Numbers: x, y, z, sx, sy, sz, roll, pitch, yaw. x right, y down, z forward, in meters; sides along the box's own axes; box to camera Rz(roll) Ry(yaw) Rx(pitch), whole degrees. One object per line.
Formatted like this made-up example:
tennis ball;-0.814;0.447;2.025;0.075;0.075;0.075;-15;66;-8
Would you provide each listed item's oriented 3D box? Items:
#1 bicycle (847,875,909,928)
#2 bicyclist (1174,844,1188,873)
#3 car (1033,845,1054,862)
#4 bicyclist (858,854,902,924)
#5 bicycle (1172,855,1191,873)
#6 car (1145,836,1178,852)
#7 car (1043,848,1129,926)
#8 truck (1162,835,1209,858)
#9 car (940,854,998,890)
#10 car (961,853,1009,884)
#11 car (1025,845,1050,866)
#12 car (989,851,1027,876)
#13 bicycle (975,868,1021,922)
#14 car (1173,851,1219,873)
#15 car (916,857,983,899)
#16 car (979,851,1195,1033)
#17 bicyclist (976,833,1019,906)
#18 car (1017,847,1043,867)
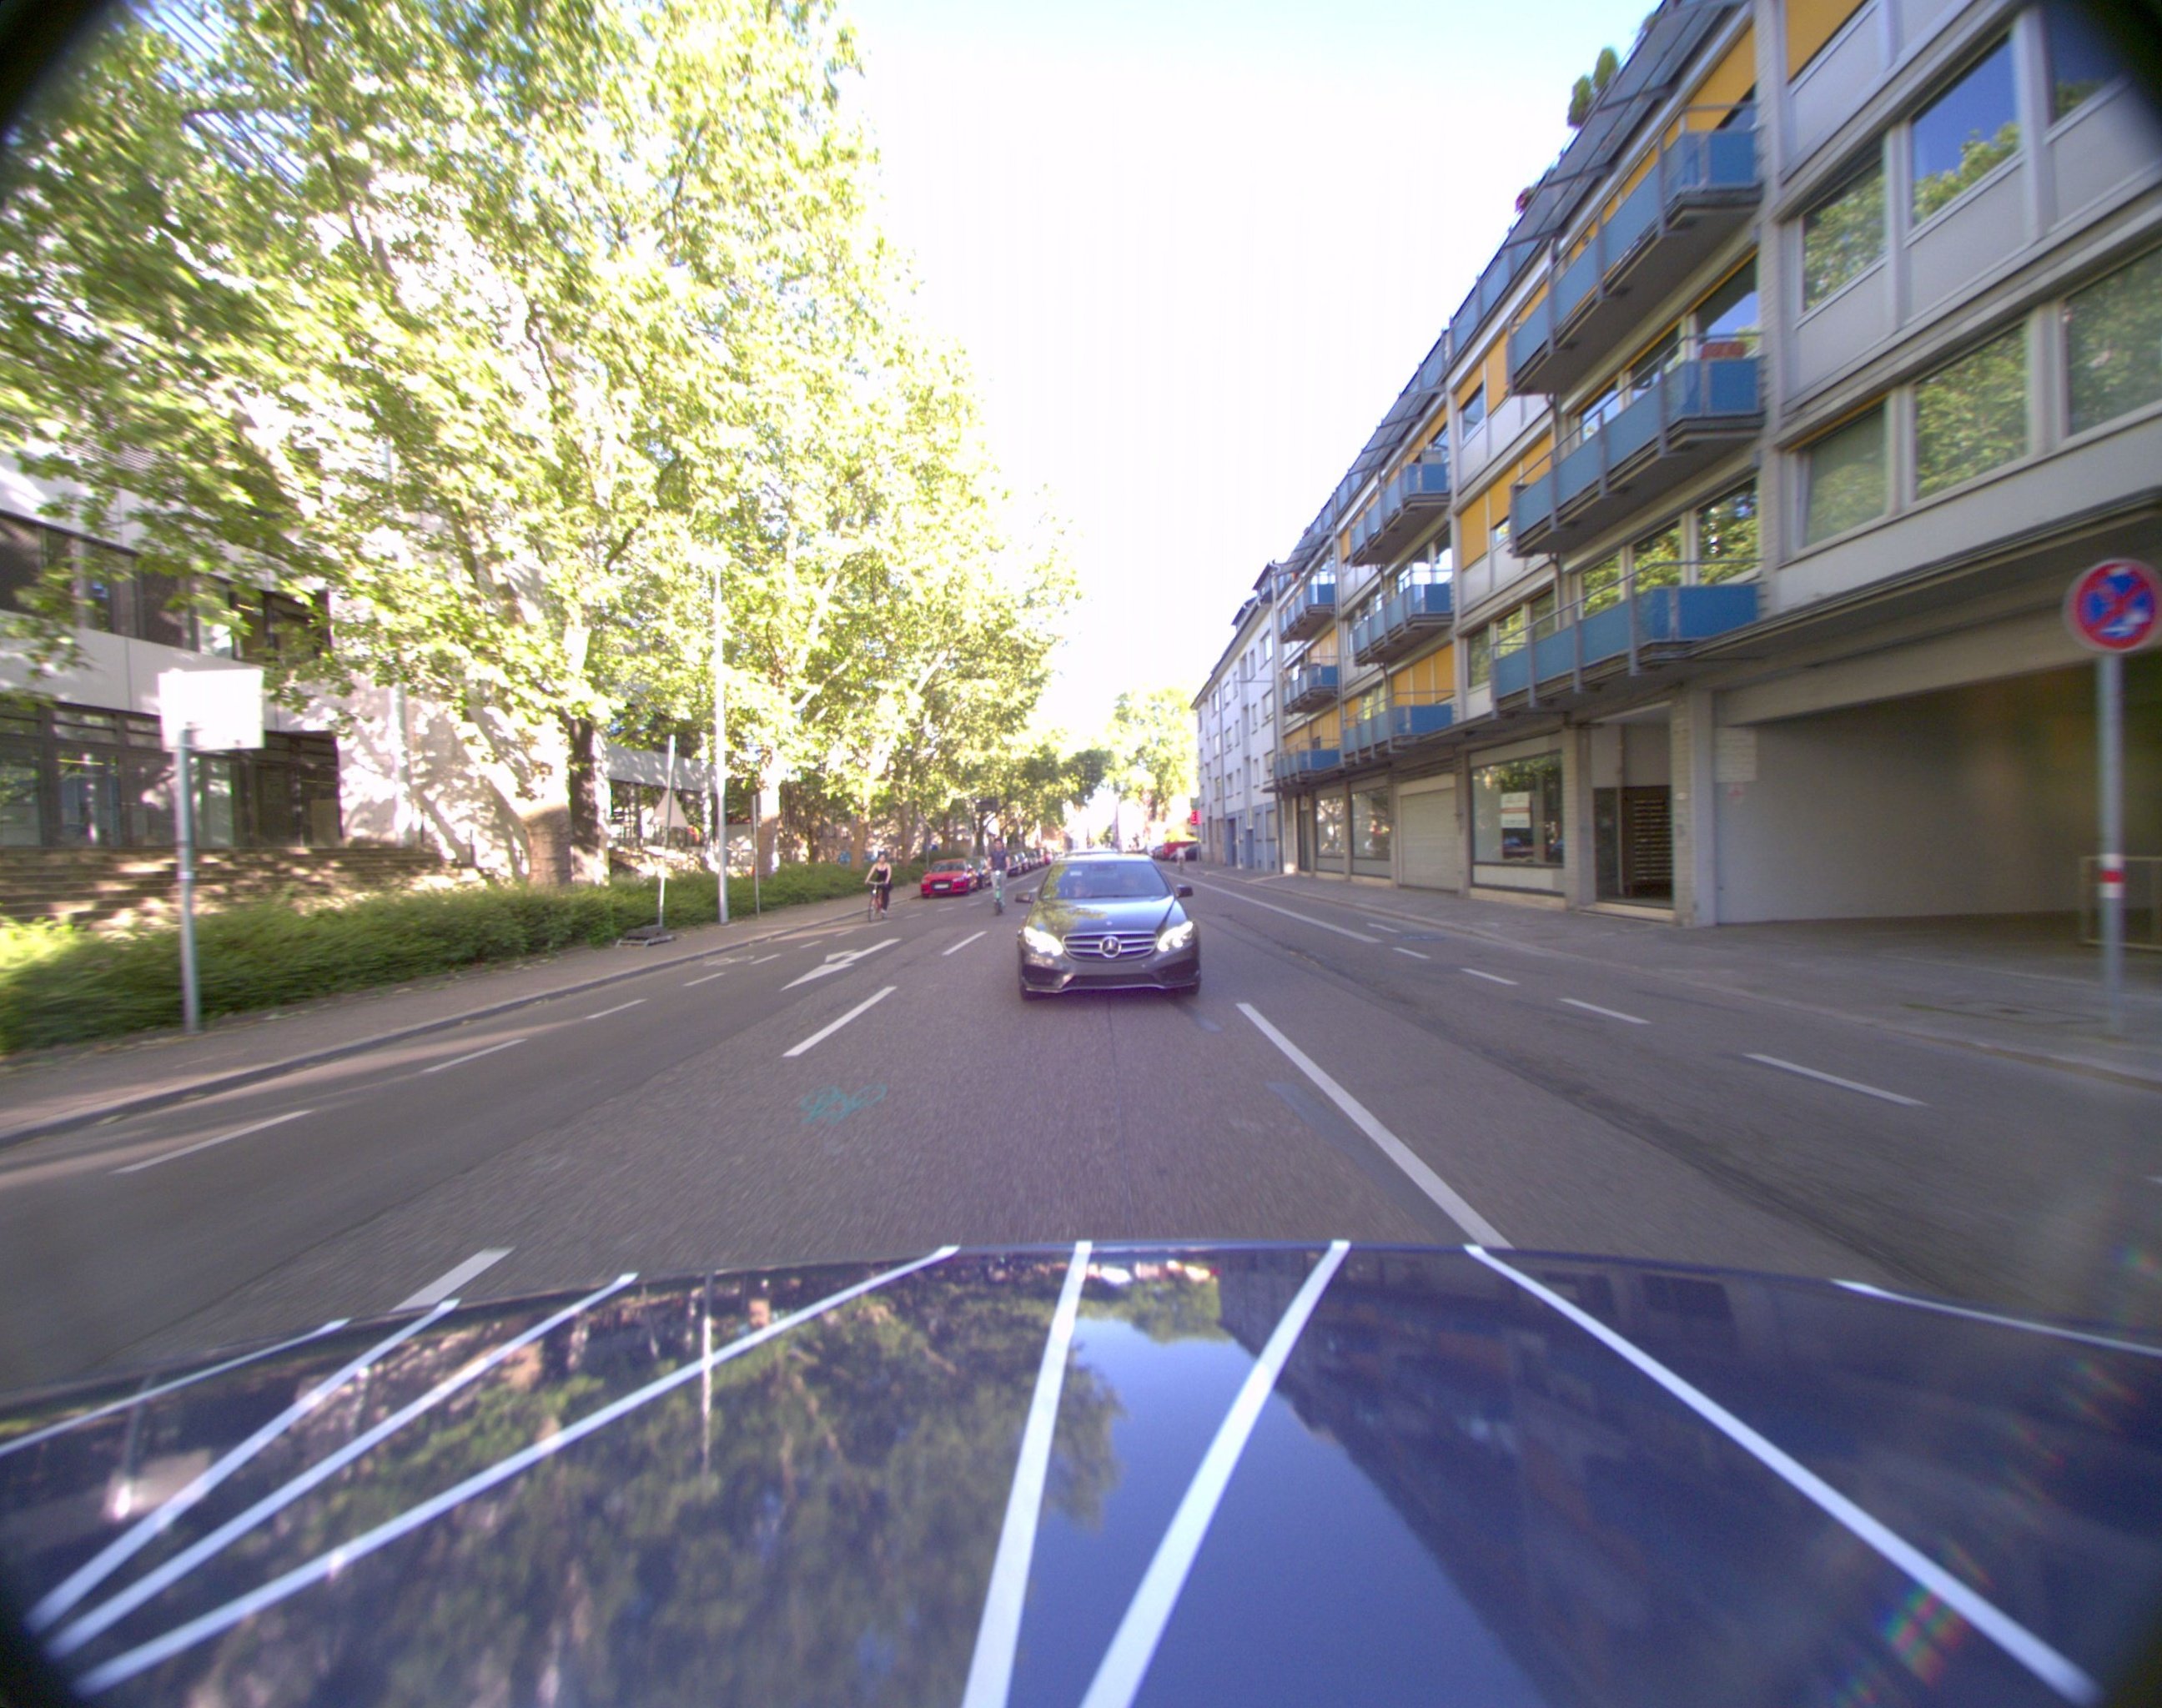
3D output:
bicycle;-5.099;1.160;19.261;0.770;1.129;2.815;-3;0;0
bicyclist;5.810;0.242;44.177;0.692;1.621;0.758;-1;2;0
car;-4.021;-0.085;82.915;1.898;1.808;4.077;-2;1;2
bicyclist;-5.134;0.874;19.420;0.770;1.670;0.895;-4;2;0
bicycle;5.818;0.568;44.143;0.692;0.980;2.631;-1;1;0
car;10.768;-1.347;101.818;3.997;2.002;1.999;-2;2;-1
car;0.229;0.702;18.443;1.746;1.594;4.000;-2;1;5
truck;10.513;-0.739;76.606;4.404;2.146;1.877;-2;2;-1
car;-5.063;0.771;34.812;1.898;1.439;4.077;-2;1;2
car;-5.030;0.723;40.314;1.898;1.443;4.077;-2;1;2
car;-4.095;0.129;71.928;1.898;1.841;4.077;-2;1;2
car;-4.747;0.600;49.699;1.898;1.443;4.077;-2;1;2
bicycle;-2.053;0.991;19.145;0.770;1.129;2.815;-4;1;0
car;10.779;0.764;71.362;3.997;1.825;1.830;-2;2;-1
car;-5.126;0.891;30.094;1.898;1.435;4.076;-2;1;-1
car;0.264;0.758;8.843;1.798;1.460;4.720;-2;1;5
bicyclist;-2.102;0.373;19.246;0.770;1.723;0.900;-7;2;0
car;-4.473;0.222;67.176;1.898;1.642;4.077;-2;1;2
